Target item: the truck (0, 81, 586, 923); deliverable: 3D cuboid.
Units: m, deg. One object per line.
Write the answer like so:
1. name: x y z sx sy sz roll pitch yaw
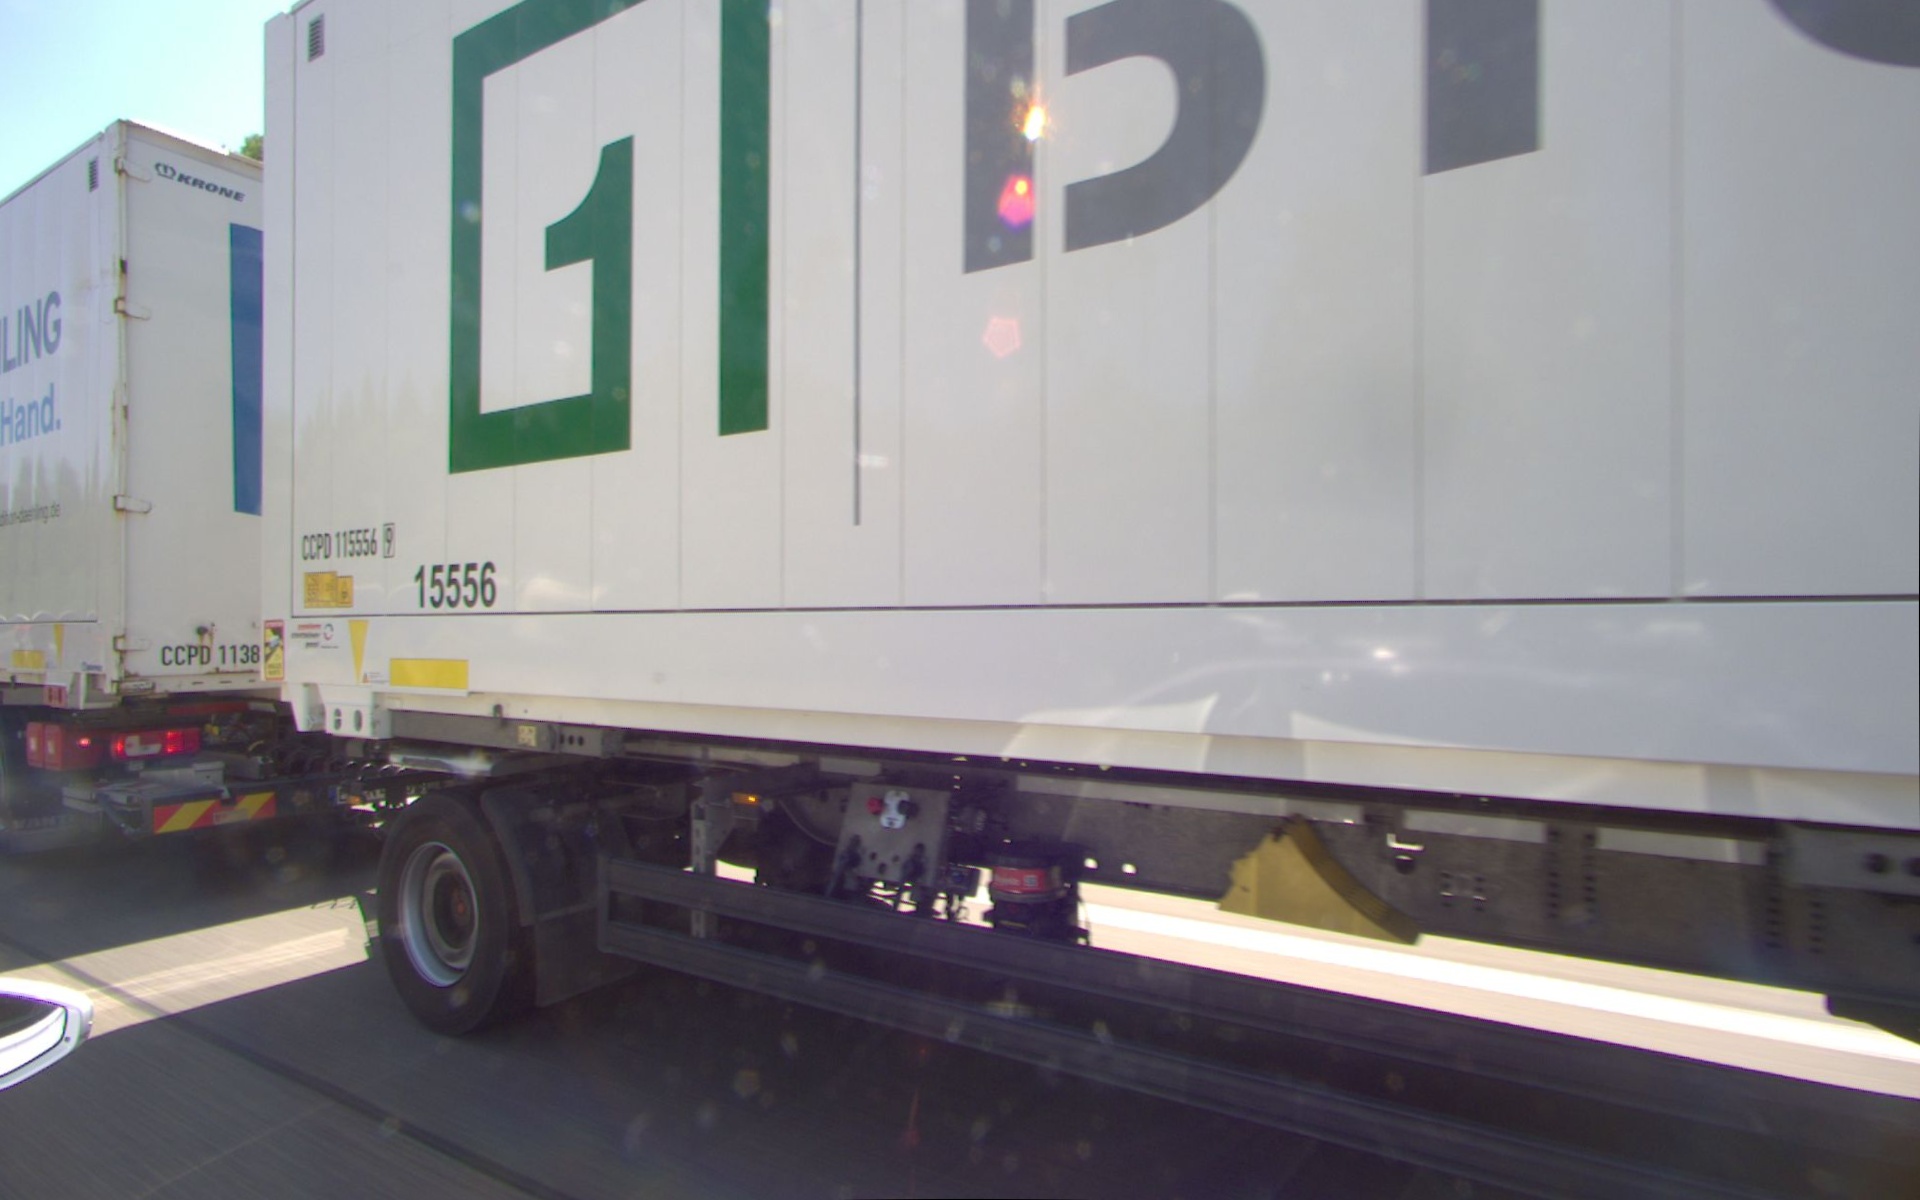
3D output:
1. truck: -7.835 -0.412 8.805 10.471 4.112 2.676 0 -1 32

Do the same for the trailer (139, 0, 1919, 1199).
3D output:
1. trailer: 1.060 -0.560 3.237 9.919 4.229 2.676 0 -1 32
